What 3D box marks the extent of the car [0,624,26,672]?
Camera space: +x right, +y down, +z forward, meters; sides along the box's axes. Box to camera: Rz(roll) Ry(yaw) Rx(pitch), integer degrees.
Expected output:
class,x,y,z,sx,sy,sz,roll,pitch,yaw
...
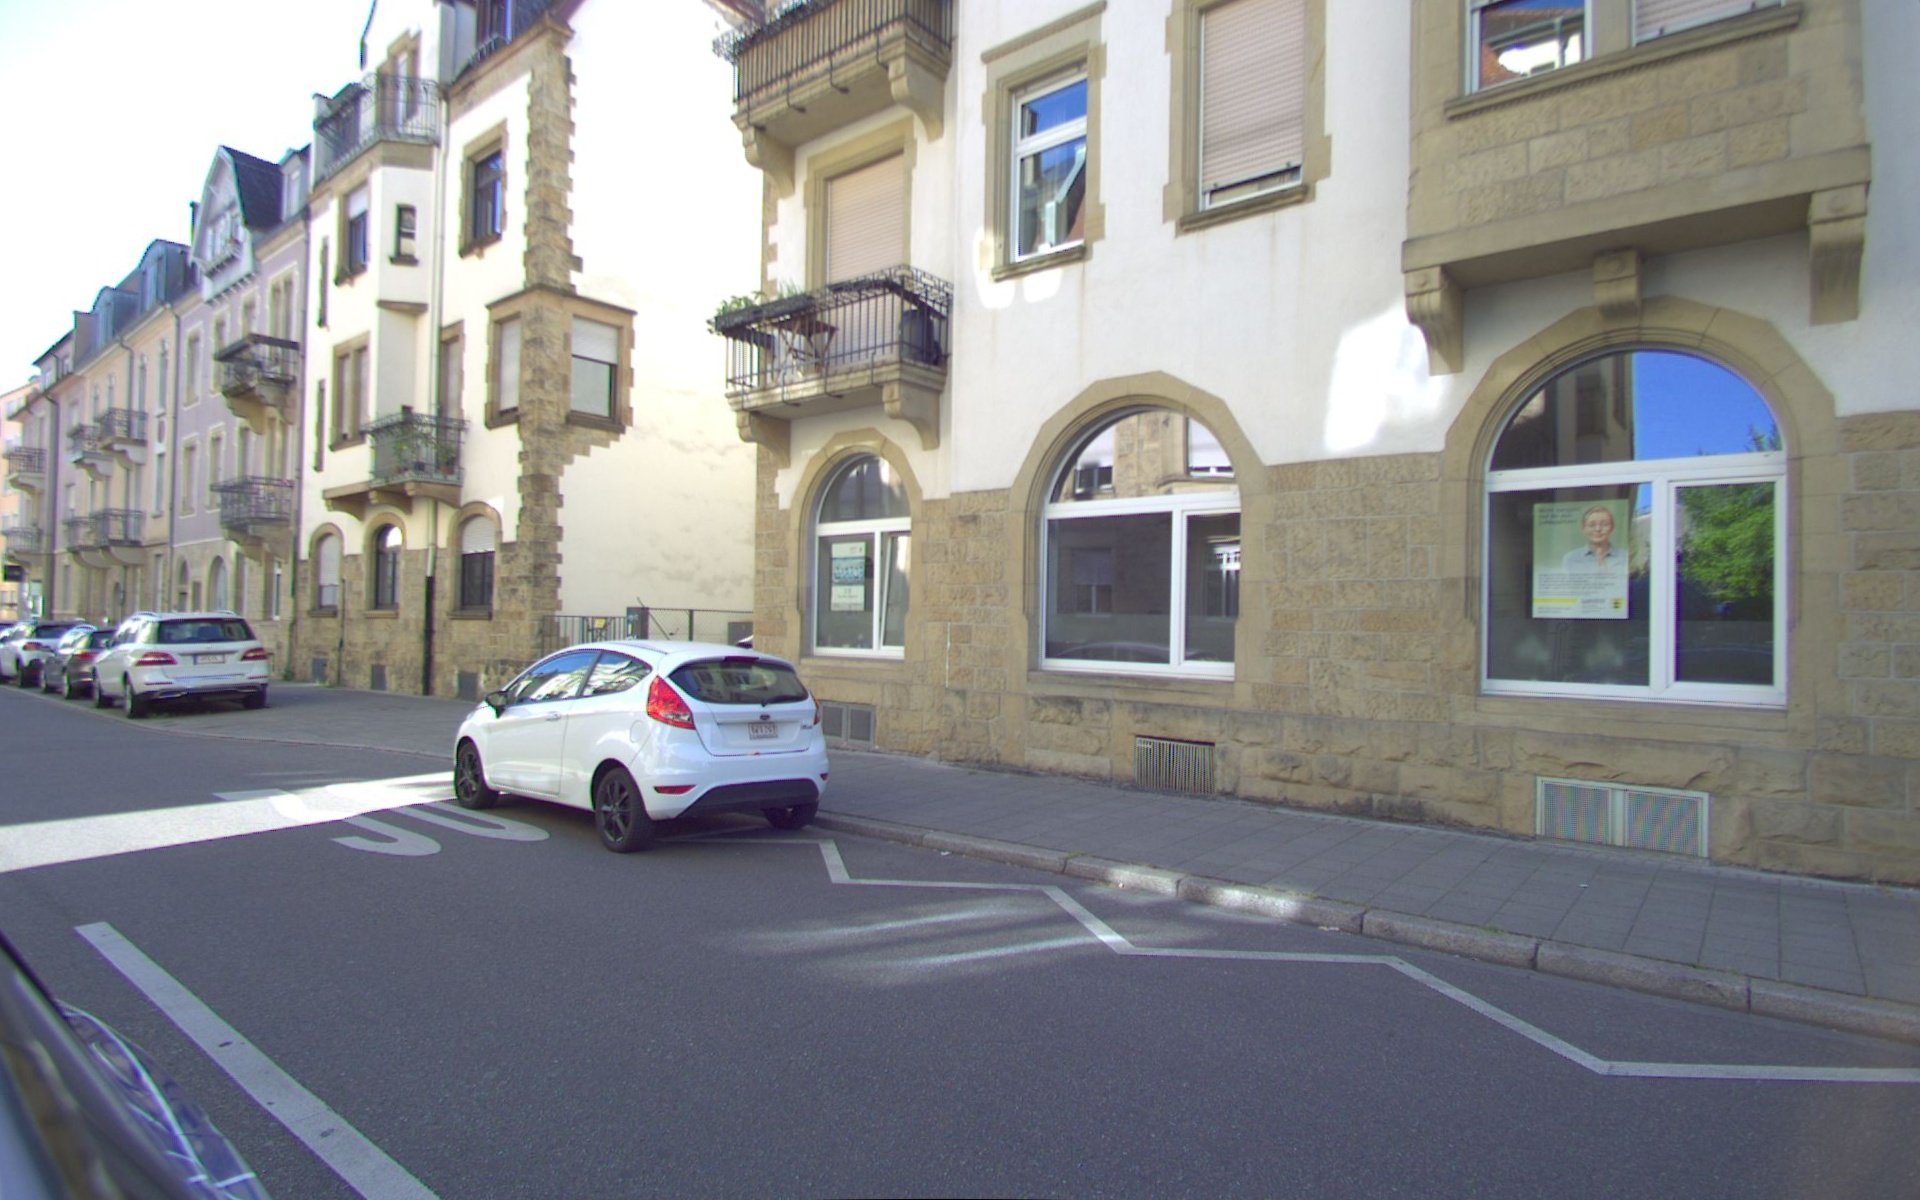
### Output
class,x,y,z,sx,sy,sz,roll,pitch,yaw
car,-33.145,1.613,34.224,4.319,1.520,1.866,-1,0,41

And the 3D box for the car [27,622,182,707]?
class,x,y,z,sx,sy,sz,roll,pitch,yaw
car,-18.449,1.295,21.755,4.319,1.519,1.866,-1,2,41

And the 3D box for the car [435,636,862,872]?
class,x,y,z,sx,sy,sz,roll,pitch,yaw
car,-2.637,1.050,8.177,3.642,1.469,1.634,-2,-5,42

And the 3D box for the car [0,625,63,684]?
class,x,y,z,sx,sy,sz,roll,pitch,yaw
car,-27.161,1.522,28.876,4.317,1.511,1.833,-1,0,41

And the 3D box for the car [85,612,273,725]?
class,x,y,z,sx,sy,sz,roll,pitch,yaw
car,-13.950,1.104,17.995,4.209,1.740,1.866,-1,0,41

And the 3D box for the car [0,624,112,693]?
class,x,y,z,sx,sy,sz,roll,pitch,yaw
car,-22.953,1.388,25.436,4.319,1.520,1.866,-1,0,41
